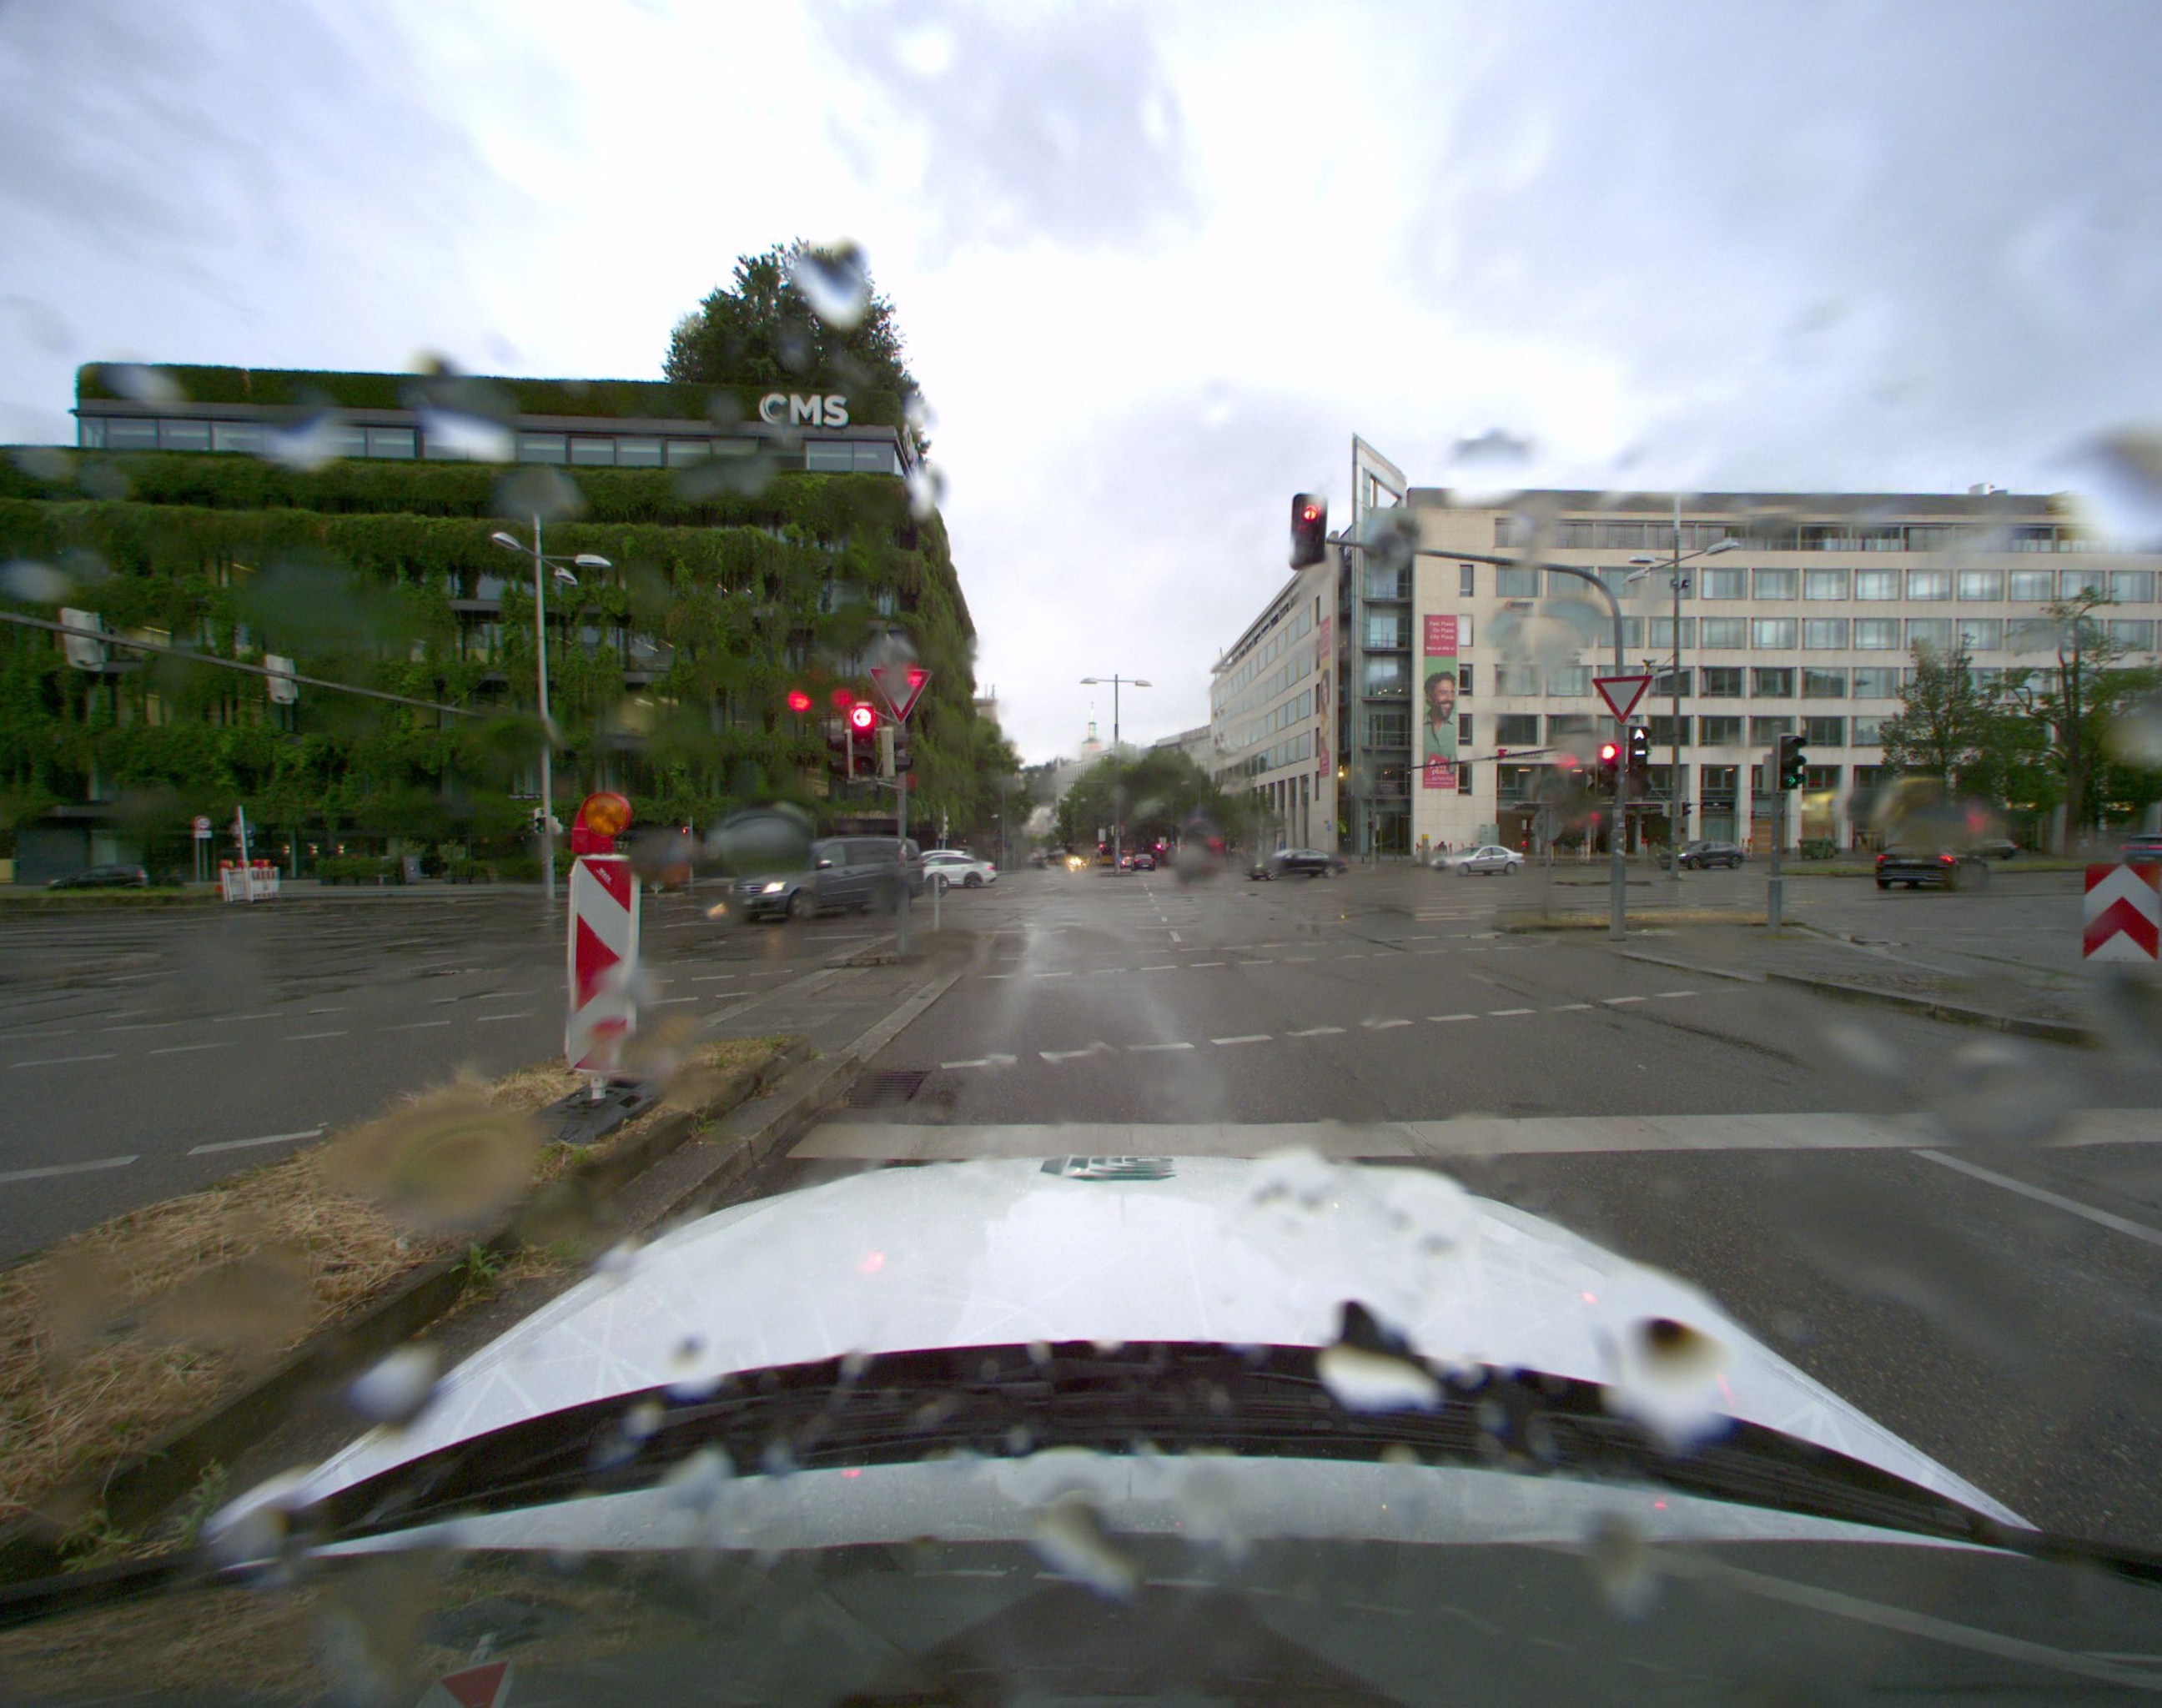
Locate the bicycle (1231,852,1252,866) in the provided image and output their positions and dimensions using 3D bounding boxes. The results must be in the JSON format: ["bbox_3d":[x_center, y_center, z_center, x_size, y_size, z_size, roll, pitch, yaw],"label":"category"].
[{"bbox_3d":[14.300,0.428,72.602,1.770,1.194,0.587,0,-1,3],"label":"bicycle"}]

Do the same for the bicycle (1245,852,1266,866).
[{"bbox_3d":[15.291,0.411,71.409,1.770,1.194,0.587,0,-1,3],"label":"bicycle"}]

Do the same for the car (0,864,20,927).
[{"bbox_3d":[-27.337,1.000,18.306,3.981,1.475,1.996,-1,0,-6],"label":"car"}]

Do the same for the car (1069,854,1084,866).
[{"bbox_3d":[-0.701,0.919,127.010,2.158,1.765,5.109,-1,0,-2],"label":"car"}]

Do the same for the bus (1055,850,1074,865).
[{"bbox_3d":[-3.540,0.723,173.572,2.631,2.995,7.294,-1,0,-13],"label":"bus"}]

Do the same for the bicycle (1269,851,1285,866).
[{"bbox_3d":[16.055,0.369,66.735,0.579,1.194,1.794,-1,-1,40],"label":"bicycle"}]

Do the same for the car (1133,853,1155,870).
[{"bbox_3d":[5.645,0.664,72.776,1.775,1.508,4.001,0,-1,2],"label":"car"}]

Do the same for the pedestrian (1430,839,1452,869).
[{"bbox_3d":[21.766,-0.001,49.207,0.958,1.816,0.837,0,-1,1],"label":"pedestrian"}]

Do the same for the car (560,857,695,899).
[{"bbox_3d":[-18.487,0.961,33.394,4.406,1.638,1.992,0,-1,-11],"label":"car"}]

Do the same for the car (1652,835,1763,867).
[{"bbox_3d":[32.829,-0.166,42.774,4.461,1.609,1.831,0,-1,-1],"label":"car"}]

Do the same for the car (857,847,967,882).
[{"bbox_3d":[-7.492,0.454,36.196,4.690,1.512,1.802,0,-1,-14],"label":"car"}]

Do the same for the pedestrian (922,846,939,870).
[{"bbox_3d":[-10.029,0.268,54.318,0.930,1.644,0.774,0,-1,1],"label":"pedestrian"}]

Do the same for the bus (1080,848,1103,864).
[{"bbox_3d":[1.989,0.410,153.280,2.631,2.995,7.415,-1,0,-13],"label":"bus"}]

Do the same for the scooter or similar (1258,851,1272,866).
[{"bbox_3d":[14.424,0.359,63.978,0.951,1.194,0.458,-1,-1,42],"label":"scooter or similar"}]

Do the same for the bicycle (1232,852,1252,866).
[{"bbox_3d":[14.475,0.432,73.233,1.770,1.194,0.587,0,-1,3],"label":"bicycle"}]

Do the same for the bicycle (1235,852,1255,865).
[{"bbox_3d":[14.942,0.436,74.140,1.770,1.194,0.587,0,-1,3],"label":"bicycle"}]

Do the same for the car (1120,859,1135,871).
[{"bbox_3d":[6.017,1.416,104.976,1.775,1.508,4.001,0,-1,2],"label":"car"}]

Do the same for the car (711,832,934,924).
[{"bbox_3d":[-6.074,0.451,19.795,1.974,1.927,4.997,-1,1,34],"label":"car"}]

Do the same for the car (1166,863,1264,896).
[{"bbox_3d":[6.909,1.329,42.162,4.688,1.626,1.802,1,-1,-13],"label":"car"}]

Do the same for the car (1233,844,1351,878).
[{"bbox_3d":[9.628,0.313,37.222,4.851,1.477,1.991,0,-2,-13],"label":"car"}]

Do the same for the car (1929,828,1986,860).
[{"bbox_3d":[58.489,-0.653,54.329,4.681,2.014,1.534,0,-1,-30],"label":"car"}]

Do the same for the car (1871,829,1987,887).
[{"bbox_3d":[26.680,0.097,25.597,4.016,1.695,1.914,-1,0,-35],"label":"car"}]

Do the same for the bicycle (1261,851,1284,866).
[{"bbox_3d":[15.205,0.358,64.644,1.607,1.194,0.590,-1,-1,27],"label":"bicycle"}]

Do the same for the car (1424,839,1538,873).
[{"bbox_3d":[19.292,0.129,39.360,4.723,1.477,1.991,1,-4,-13],"label":"car"}]

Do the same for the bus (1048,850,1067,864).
[{"bbox_3d":[-5.237,0.688,180.715,2.631,2.995,7.415,-1,0,-13],"label":"bus"}]

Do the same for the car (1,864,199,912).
[{"bbox_3d":[-36.400,1.227,30.354,4.405,1.638,1.993,0,-1,-11],"label":"car"}]

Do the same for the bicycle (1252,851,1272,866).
[{"bbox_3d":[14.732,0.374,66.209,0.588,1.194,1.768,0,-1,-26],"label":"bicycle"}]

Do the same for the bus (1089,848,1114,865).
[{"bbox_3d":[3.682,0.402,146.088,2.631,2.995,7.415,-1,0,-13],"label":"bus"}]

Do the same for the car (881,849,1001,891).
[{"bbox_3d":[-5.751,0.631,33.403,4.690,1.512,1.802,-2,0,-14],"label":"car"}]

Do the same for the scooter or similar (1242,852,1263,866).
[{"bbox_3d":[14.912,0.409,70.795,1.770,1.194,0.587,0,-1,3],"label":"scooter or similar"}]
